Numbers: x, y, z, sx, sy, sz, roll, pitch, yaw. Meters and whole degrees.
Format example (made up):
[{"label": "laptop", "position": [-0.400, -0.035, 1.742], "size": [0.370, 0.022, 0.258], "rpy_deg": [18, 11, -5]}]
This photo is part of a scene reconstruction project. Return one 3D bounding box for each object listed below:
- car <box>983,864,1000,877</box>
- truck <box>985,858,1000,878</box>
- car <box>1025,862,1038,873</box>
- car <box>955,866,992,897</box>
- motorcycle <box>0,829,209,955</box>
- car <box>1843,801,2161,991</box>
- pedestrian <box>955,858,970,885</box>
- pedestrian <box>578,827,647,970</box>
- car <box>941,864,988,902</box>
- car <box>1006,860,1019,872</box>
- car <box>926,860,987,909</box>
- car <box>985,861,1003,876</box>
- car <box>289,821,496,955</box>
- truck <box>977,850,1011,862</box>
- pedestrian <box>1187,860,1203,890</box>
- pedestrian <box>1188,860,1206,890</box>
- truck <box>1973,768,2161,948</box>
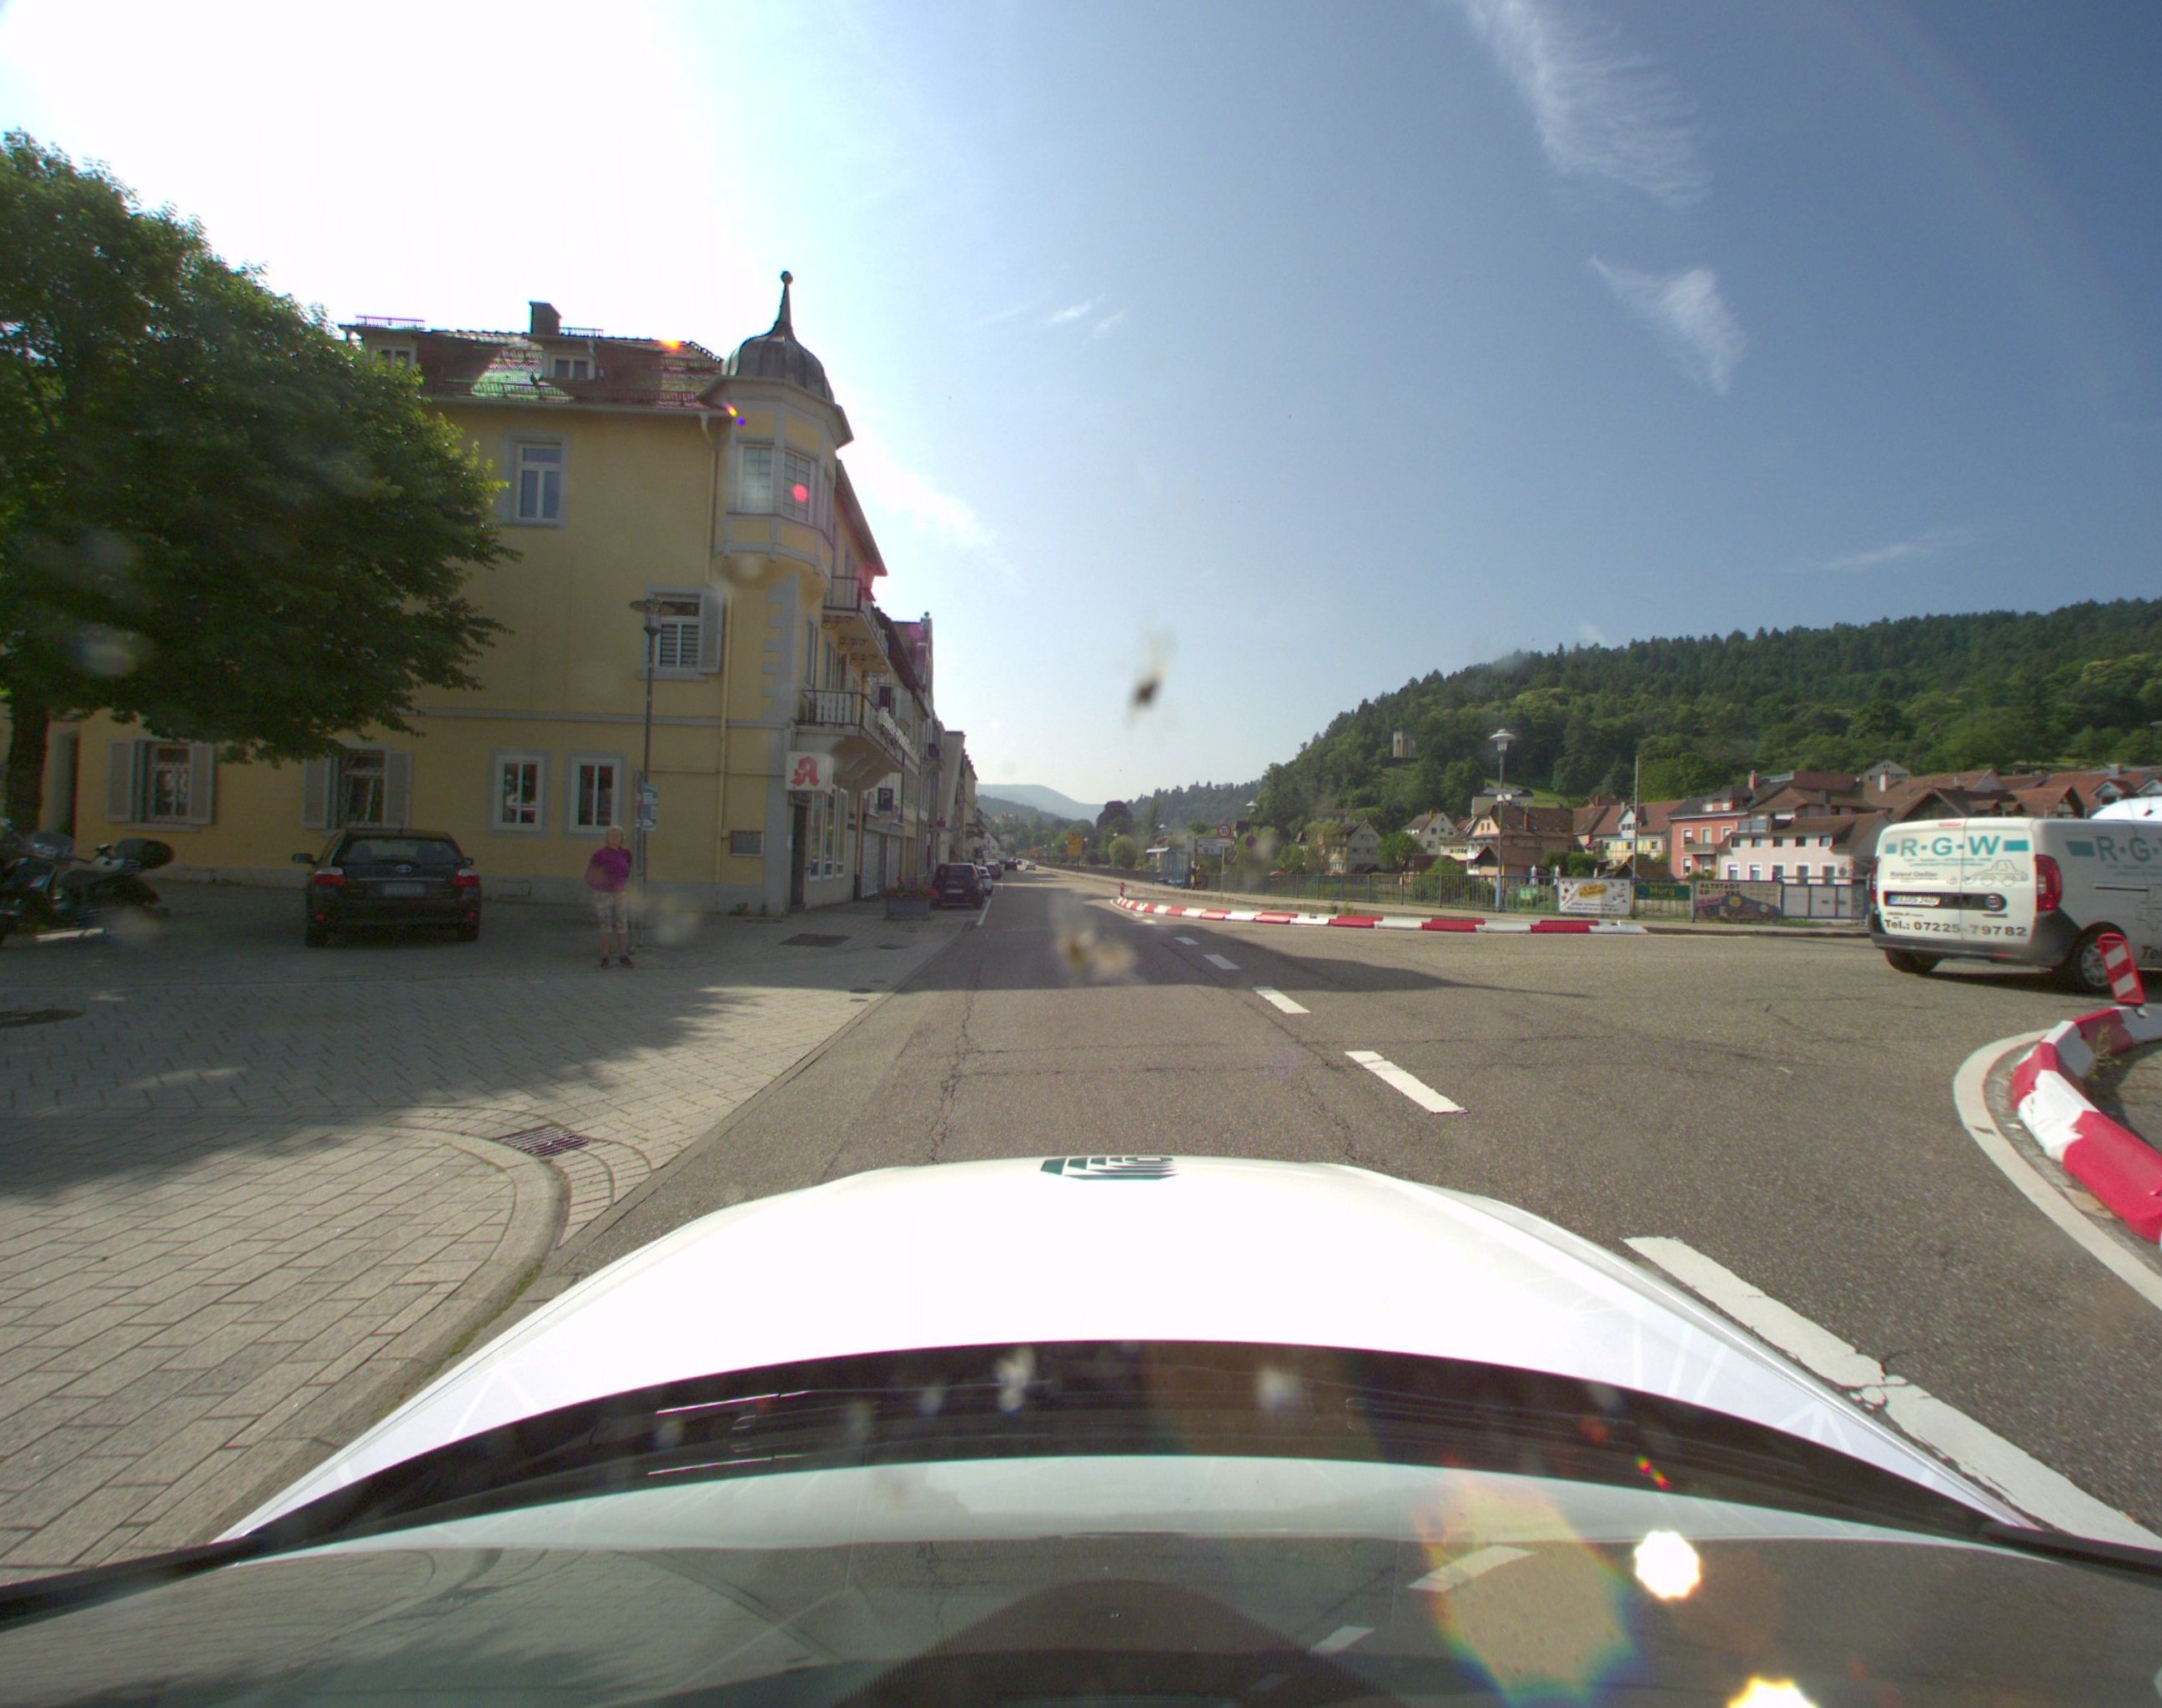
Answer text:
[{"label": "car", "position": [-8.438, 1.564, 77.056], "size": [1.562, 1.220, 3.269], "rpy_deg": [1, -1, -6]}, {"label": "truck", "position": [-10.799, 1.701, 99.563], "size": [1.745, 2.468, 4.651], "rpy_deg": [1, -1, -6]}, {"label": "car", "position": [-8.236, 2.218, 135.226], "size": [1.990, 1.662, 3.993], "rpy_deg": [2, 0, -5]}, {"label": "car", "position": [-5.402, 1.369, 41.426], "size": [1.745, 1.448, 3.786], "rpy_deg": [1, -1, -6]}, {"label": "motorcycle", "position": [-12.192, 0.395, 9.990], "size": [0.884, 1.360, 2.083], "rpy_deg": [1, 2, -6]}, {"label": "car", "position": [11.620, 0.418, 9.467], "size": [4.300, 1.906, 1.844], "rpy_deg": [0, 0, -10]}, {"label": "pedestrian", "position": [-7.547, 1.134, 51.711], "size": [0.683, 1.696, 0.663], "rpy_deg": [0, -1, 22]}, {"label": "pedestrian", "position": [-5.833, 0.534, 10.145], "size": [0.682, 1.714, 0.611], "rpy_deg": [2, 0, -31]}, {"label": "car", "position": [-4.712, 1.157, 33.343], "size": [1.745, 1.448, 3.269], "rpy_deg": [1, -1, -6]}, {"label": "car", "position": [-10.836, 1.903, 129.228], "size": [1.990, 1.662, 3.993], "rpy_deg": [2, 0, -5]}, {"label": "car", "position": [-4.179, 0.995, 27.804], "size": [1.844, 1.568, 3.560], "rpy_deg": [1, -1, -6]}, {"label": "car", "position": [-8.916, 1.493, 83.224], "size": [1.745, 1.448, 3.269], "rpy_deg": [1, -1, -6]}, {"label": "car", "position": [-9.762, 0.370, 11.711], "size": [1.933, 1.543, 3.914], "rpy_deg": [2, 1, -39]}, {"label": "truck", "position": [-24.018, 0.600, 225.500], "size": [9.249, 3.264, 3.045], "rpy_deg": [1, -1, -38]}, {"label": "pedestrian", "position": [6.657, 1.208, 47.659], "size": [0.787, 1.706, 0.491], "rpy_deg": [2, -1, -4]}, {"label": "pedestrian", "position": [6.690, 1.203, 47.003], "size": [0.865, 1.706, 0.776], "rpy_deg": [2, -1, -4]}, {"label": "truck", "position": [19.277, 0.151, 13.521], "size": [7.095, 2.699, 2.109], "rpy_deg": [1, -1, -4]}]
